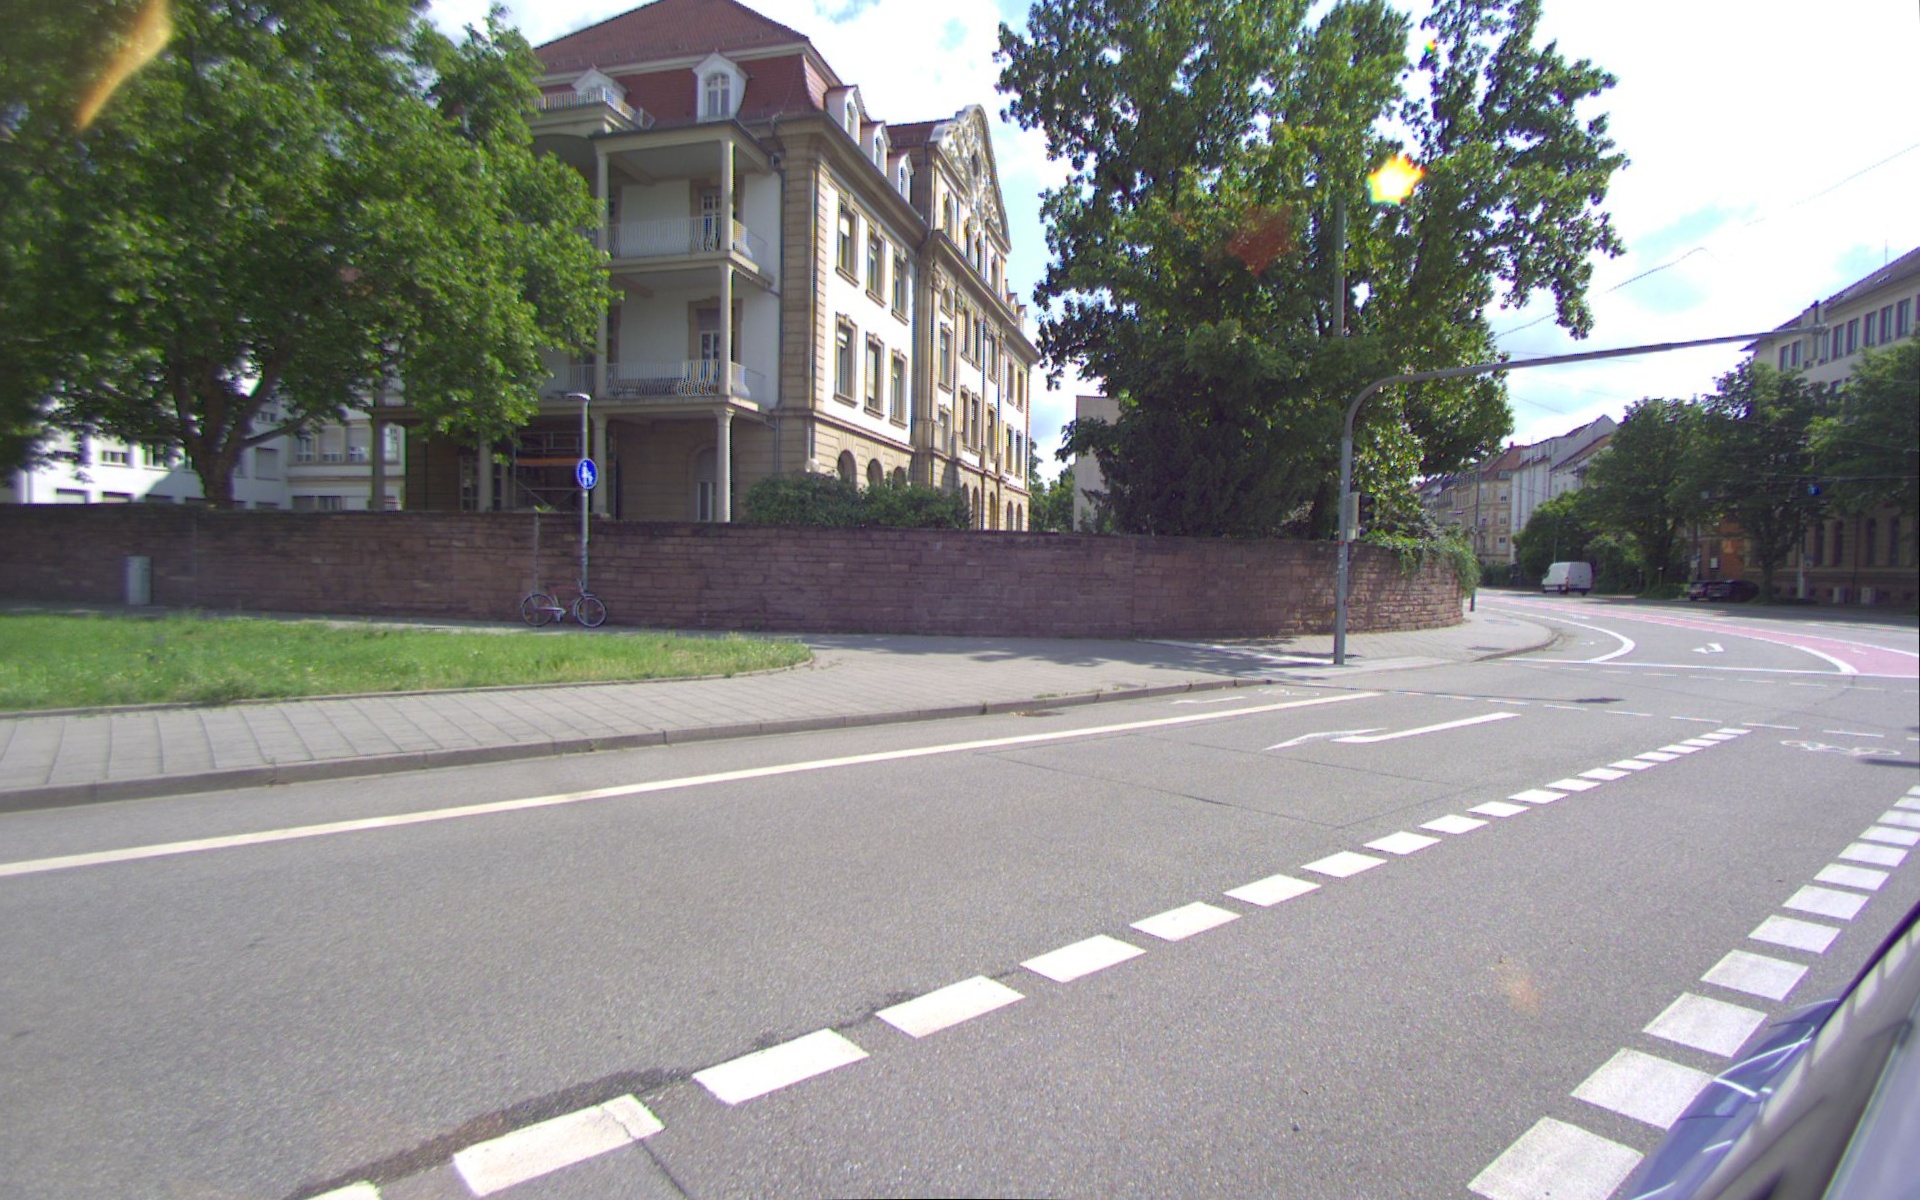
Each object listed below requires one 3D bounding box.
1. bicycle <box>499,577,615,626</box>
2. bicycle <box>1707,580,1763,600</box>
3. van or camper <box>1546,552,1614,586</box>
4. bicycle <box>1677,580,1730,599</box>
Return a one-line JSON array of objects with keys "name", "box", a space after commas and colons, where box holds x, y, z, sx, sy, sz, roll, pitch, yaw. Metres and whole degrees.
[{"name": "bicycle", "box": [-8.141, 0.022, 20.479, 2.024, 0.871, 0.858, 2, 4, 4]}, {"name": "bicycle", "box": [52.904, -0.720, 69.117, 1.030, 1.221, 2.898, -4, 4, -32]}, {"name": "van or camper", "box": [51.758, -2.597, 84.687, 2.934, 2.634, 6.728, 2, 2, 15]}, {"name": "bicycle", "box": [53.091, -0.765, 72.308, 1.052, 1.221, 2.898, -4, 4, -32]}]
